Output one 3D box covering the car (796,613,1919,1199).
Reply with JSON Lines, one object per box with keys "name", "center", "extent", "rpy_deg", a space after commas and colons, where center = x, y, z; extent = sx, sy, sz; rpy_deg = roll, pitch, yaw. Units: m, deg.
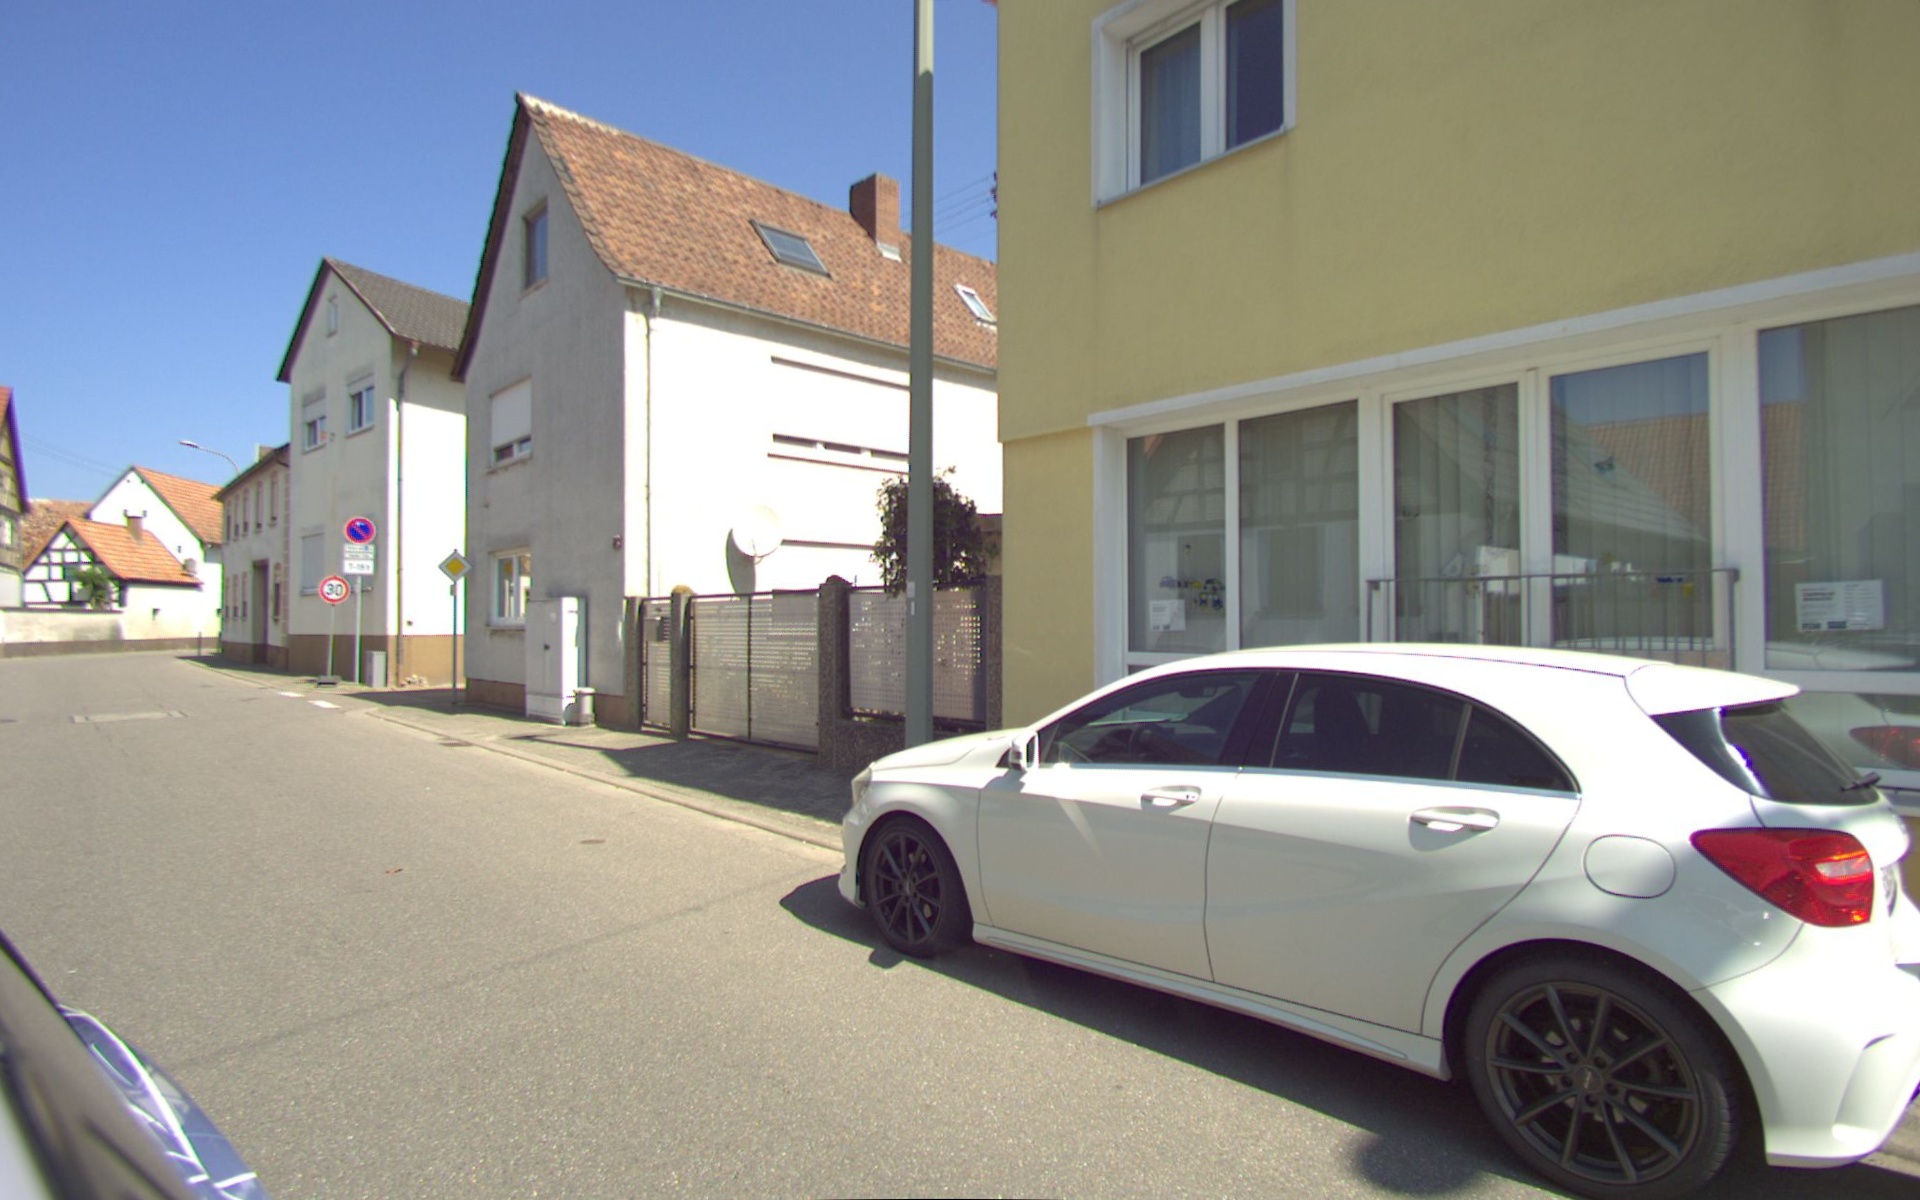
{"name": "car", "center": [1.343, 0.831, 4.172], "extent": [4.272, 1.475, 1.814], "rpy_deg": [-1, -3, 45]}
